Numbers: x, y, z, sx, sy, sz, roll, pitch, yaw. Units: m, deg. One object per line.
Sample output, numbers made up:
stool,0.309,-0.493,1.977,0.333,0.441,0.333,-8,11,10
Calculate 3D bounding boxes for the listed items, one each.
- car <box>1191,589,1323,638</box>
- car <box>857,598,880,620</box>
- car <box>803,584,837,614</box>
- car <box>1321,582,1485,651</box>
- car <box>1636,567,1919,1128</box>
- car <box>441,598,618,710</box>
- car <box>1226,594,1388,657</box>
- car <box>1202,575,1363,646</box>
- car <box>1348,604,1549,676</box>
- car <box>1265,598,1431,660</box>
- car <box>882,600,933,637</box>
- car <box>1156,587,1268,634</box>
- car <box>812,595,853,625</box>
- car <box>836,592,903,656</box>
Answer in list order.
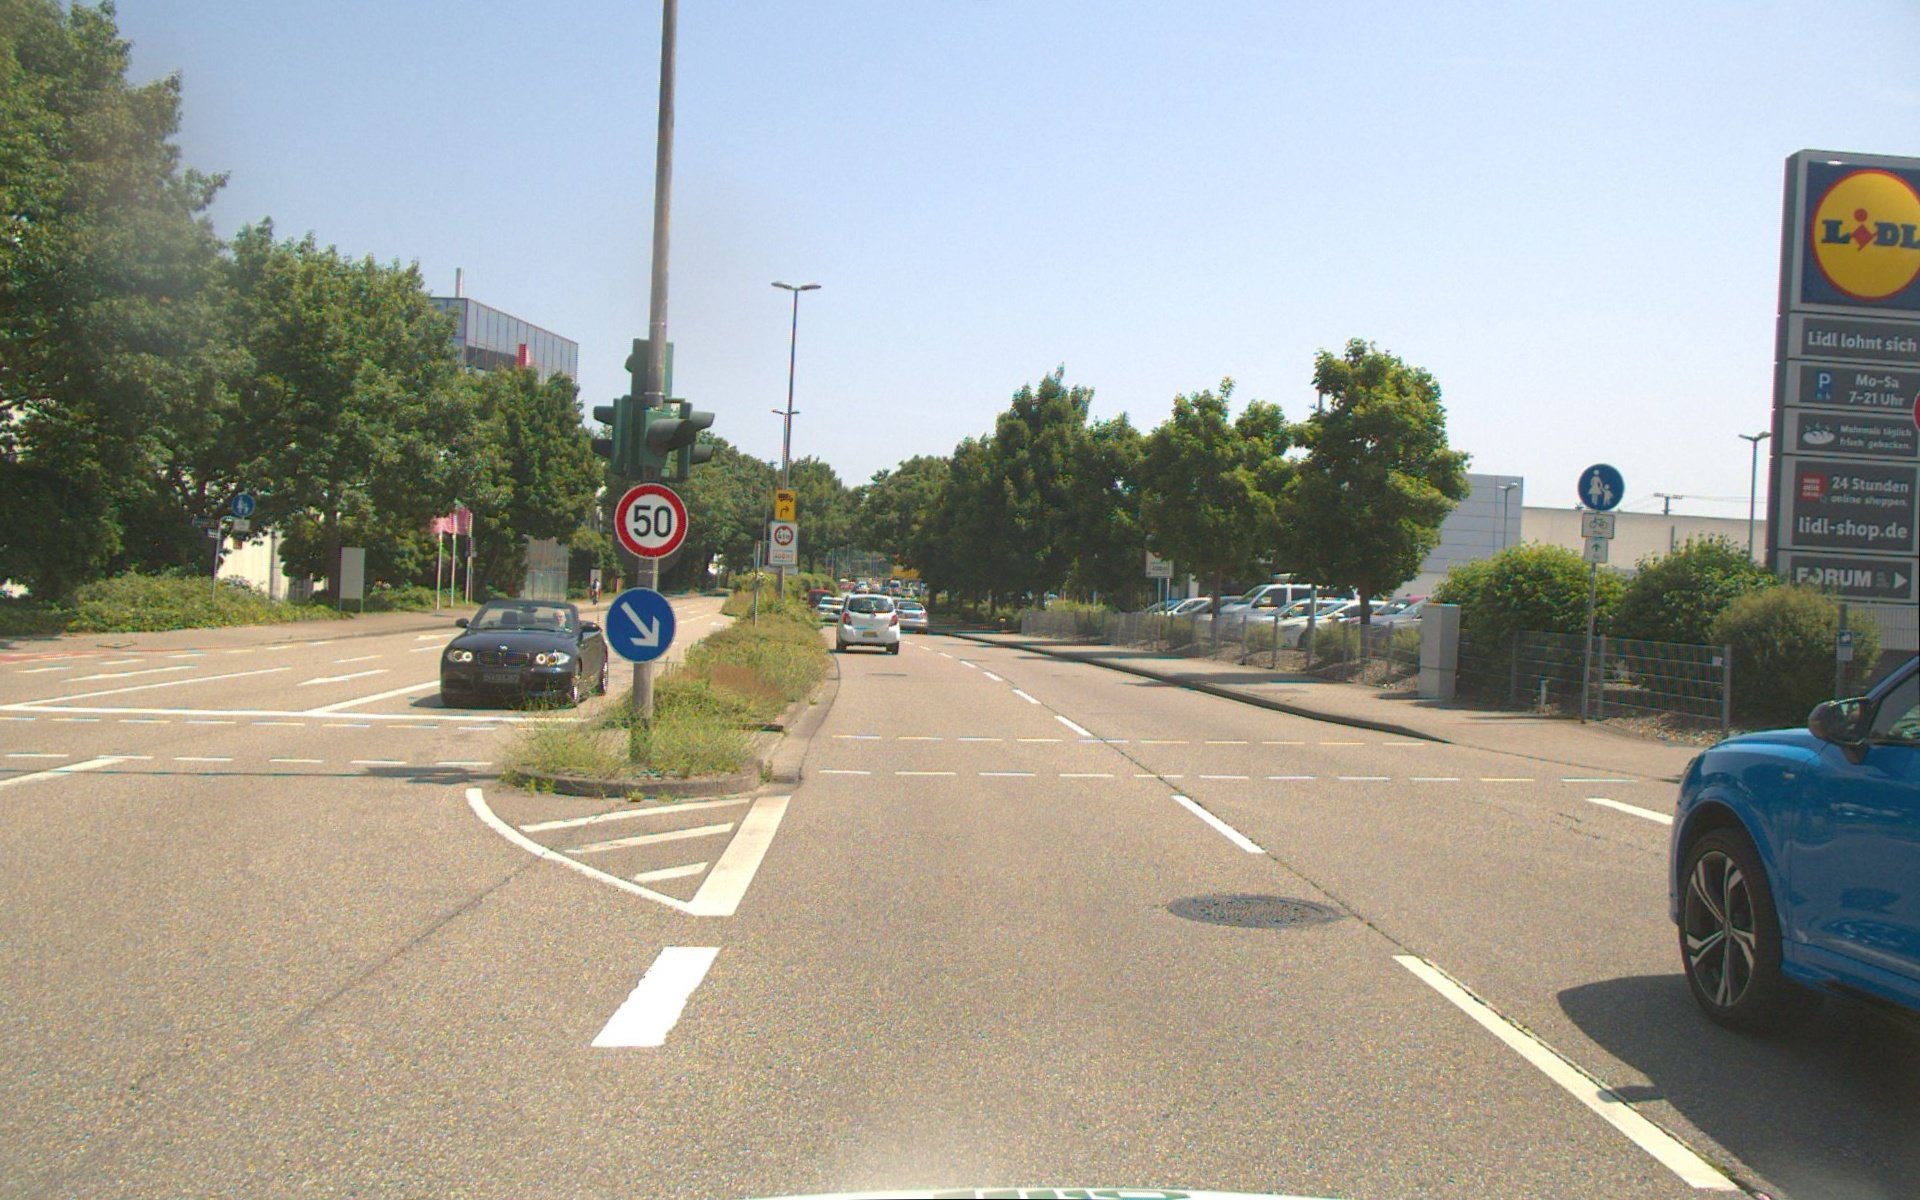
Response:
car,9.729,0.424,54.307,3.909,1.414,1.825,2,0,-5
car,-6.214,0.600,112.138,1.413,1.372,3.455,1,0,-6
car,-8.392,-0.071,99.002,1.849,1.636,3.994,4,0,-7
car,10.992,0.398,41.128,3.523,1.563,1.720,2,0,-9
car,3.664,0.724,4.611,1.771,1.620,4.349,1,0,0
car,-5.726,0.664,22.444,1.696,1.347,4.144,1,0,-6
car,10.119,0.740,48.433,4.280,1.620,1.826,2,0,-4
car,9.992,0.316,51.357,4.527,1.958,1.825,2,0,-5
car,11.186,0.910,38.029,4.087,1.446,1.697,2,0,-4
car,10.255,0.765,43.838,3.919,1.446,1.696,2,0,-6
car,-2.449,0.822,76.011,1.831,1.498,3.992,4,0,-8
car,9.859,0.422,64.842,3.914,1.624,1.823,3,0,-10
car,-6.503,0.478,84.079,1.849,1.377,3.994,4,0,-7
car,-2.470,0.627,44.639,1.607,1.579,3.321,3,0,-5
